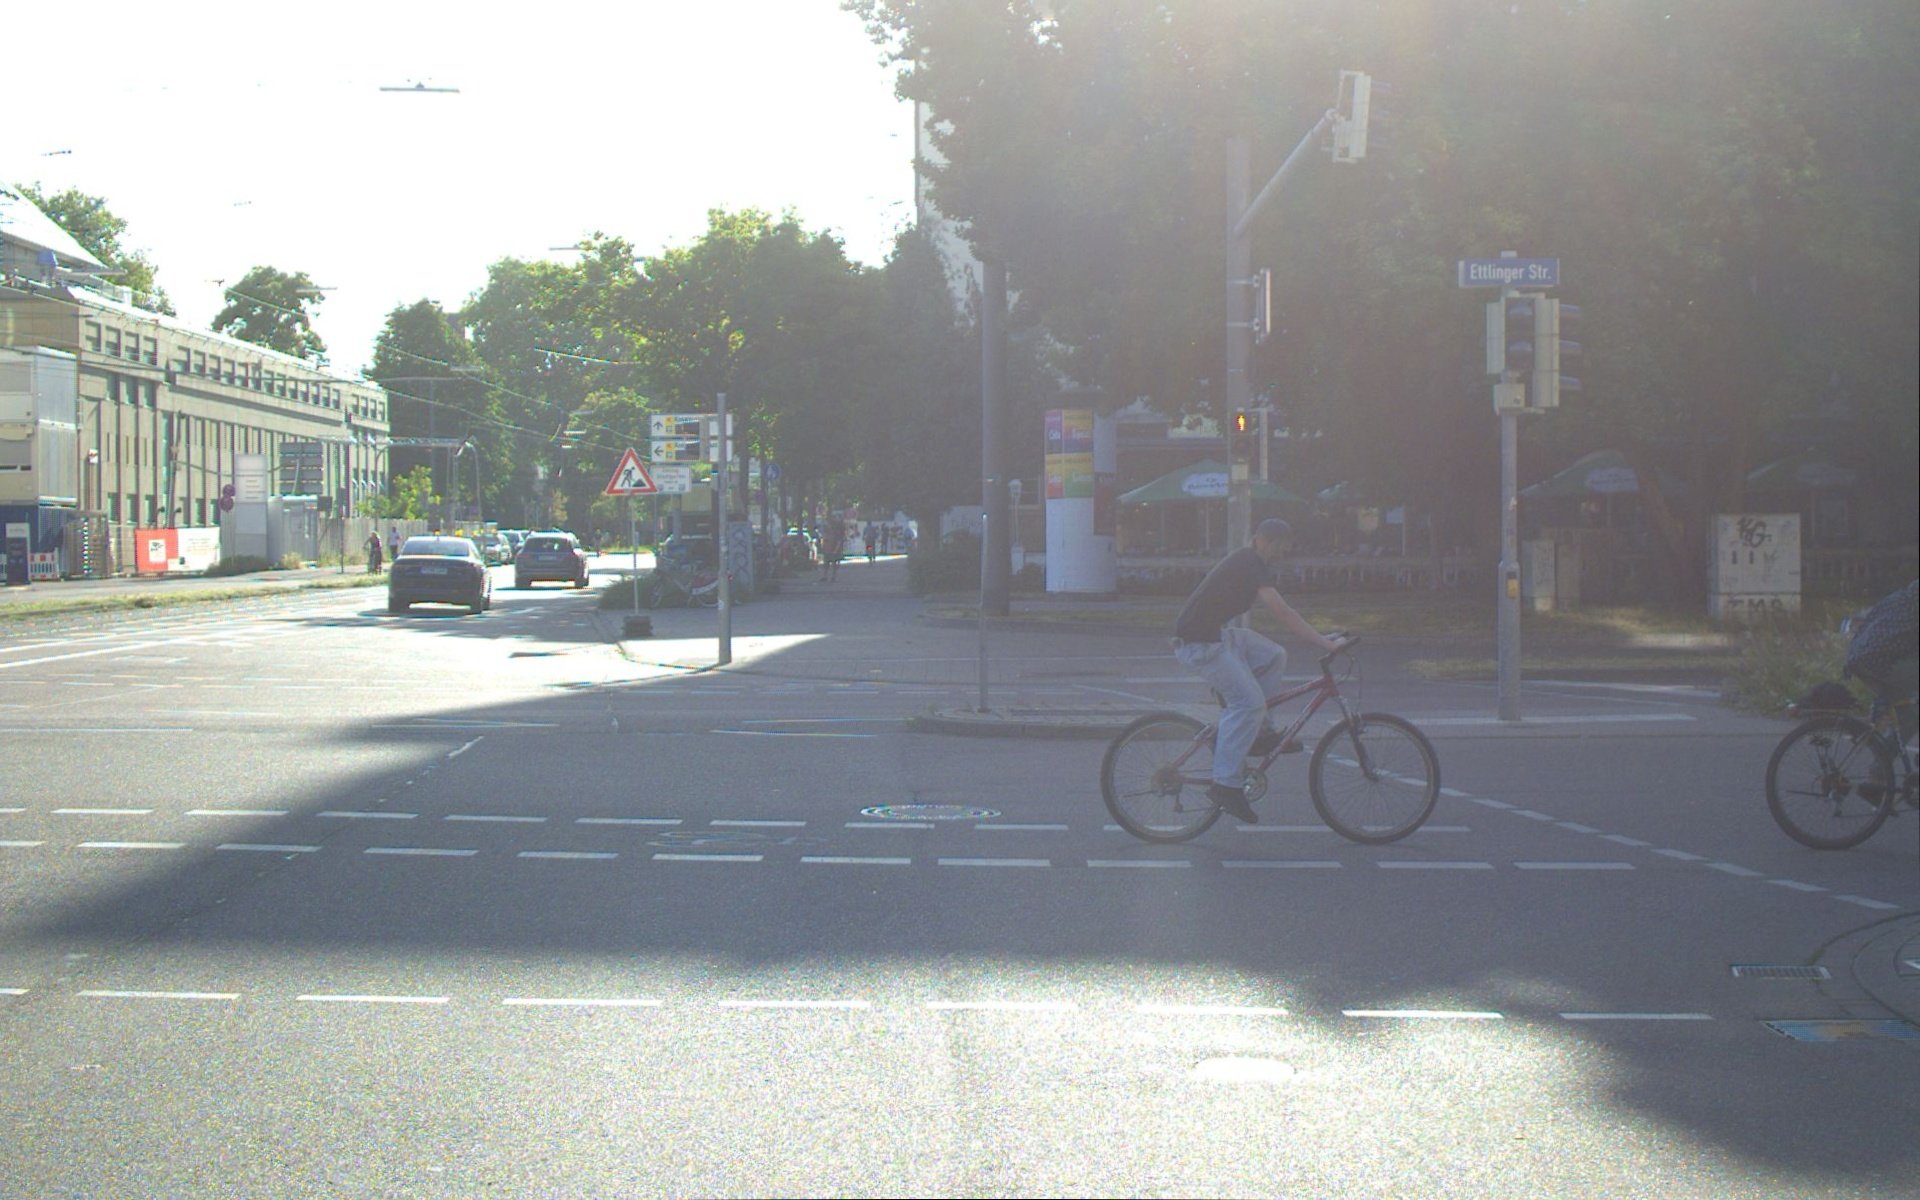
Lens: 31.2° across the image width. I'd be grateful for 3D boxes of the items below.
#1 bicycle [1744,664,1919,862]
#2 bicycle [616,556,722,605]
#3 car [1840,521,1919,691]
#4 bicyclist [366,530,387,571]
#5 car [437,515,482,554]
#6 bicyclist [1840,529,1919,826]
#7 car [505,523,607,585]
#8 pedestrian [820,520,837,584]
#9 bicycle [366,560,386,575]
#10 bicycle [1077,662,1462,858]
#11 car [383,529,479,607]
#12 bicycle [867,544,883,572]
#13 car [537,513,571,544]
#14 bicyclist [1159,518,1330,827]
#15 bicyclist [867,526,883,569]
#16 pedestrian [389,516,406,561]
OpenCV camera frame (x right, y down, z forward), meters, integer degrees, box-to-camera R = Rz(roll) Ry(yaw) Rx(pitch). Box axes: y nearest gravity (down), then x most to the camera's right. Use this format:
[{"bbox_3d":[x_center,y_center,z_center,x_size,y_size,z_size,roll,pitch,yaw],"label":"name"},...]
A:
[{"bbox_3d":[4.856,0.794,17.112,1.742,0.932,0.646,0,1,-5],"label":"bicycle"},{"bbox_3d":[-5.715,-0.380,67.464,2.018,0.888,0.650,-2,0,27],"label":"bicycle"},{"bbox_3d":[10.769,0.025,33.394,3.993,1.605,1.650,-1,1,-1],"label":"car"},{"bbox_3d":[-19.937,-1.690,117.455,0.596,1.372,0.638,1,0,-2],"label":"bicyclist"},{"bbox_3d":[-22.757,-2.961,156.429,1.692,1.712,4.248,1,1,-4],"label":"car"},{"bbox_3d":[4.874,0.372,17.106,0.798,1.446,0.617,0,1,-6],"label":"bicyclist"},{"bbox_3d":[-11.021,-1.282,94.099,1.892,1.560,4.807,3,1,3],"label":"car"},{"bbox_3d":[-3.732,-1.377,97.708,0.463,1.807,0.503,0,1,-5],"label":"pedestrian"},{"bbox_3d":[-19.940,-1.113,117.448,0.501,0.513,1.258,1,1,-1],"label":"bicycle"},{"bbox_3d":[1.548,0.795,17.323,1.857,0.932,0.560,-1,1,-5],"label":"bicycle"},{"bbox_3d":[-10.303,-0.646,67.171,1.660,1.450,4.433,0,1,-6],"label":"car"},{"bbox_3d":[-3.303,-1.654,133.658,0.575,1.073,1.831,0,1,-1],"label":"bicycle"},{"bbox_3d":[-22.995,-4.025,194.675,1.692,1.712,4.248,1,1,-4],"label":"car"},{"bbox_3d":[1.427,0.352,17.310,0.762,1.519,0.606,0,1,-5],"label":"bicyclist"},{"bbox_3d":[-3.305,-2.044,133.681,0.569,1.685,0.700,0,1,-1],"label":"bicyclist"},{"bbox_3d":[-25.566,-2.799,156.264,0.674,2.007,0.751,1,0,-3],"label":"pedestrian"}]
